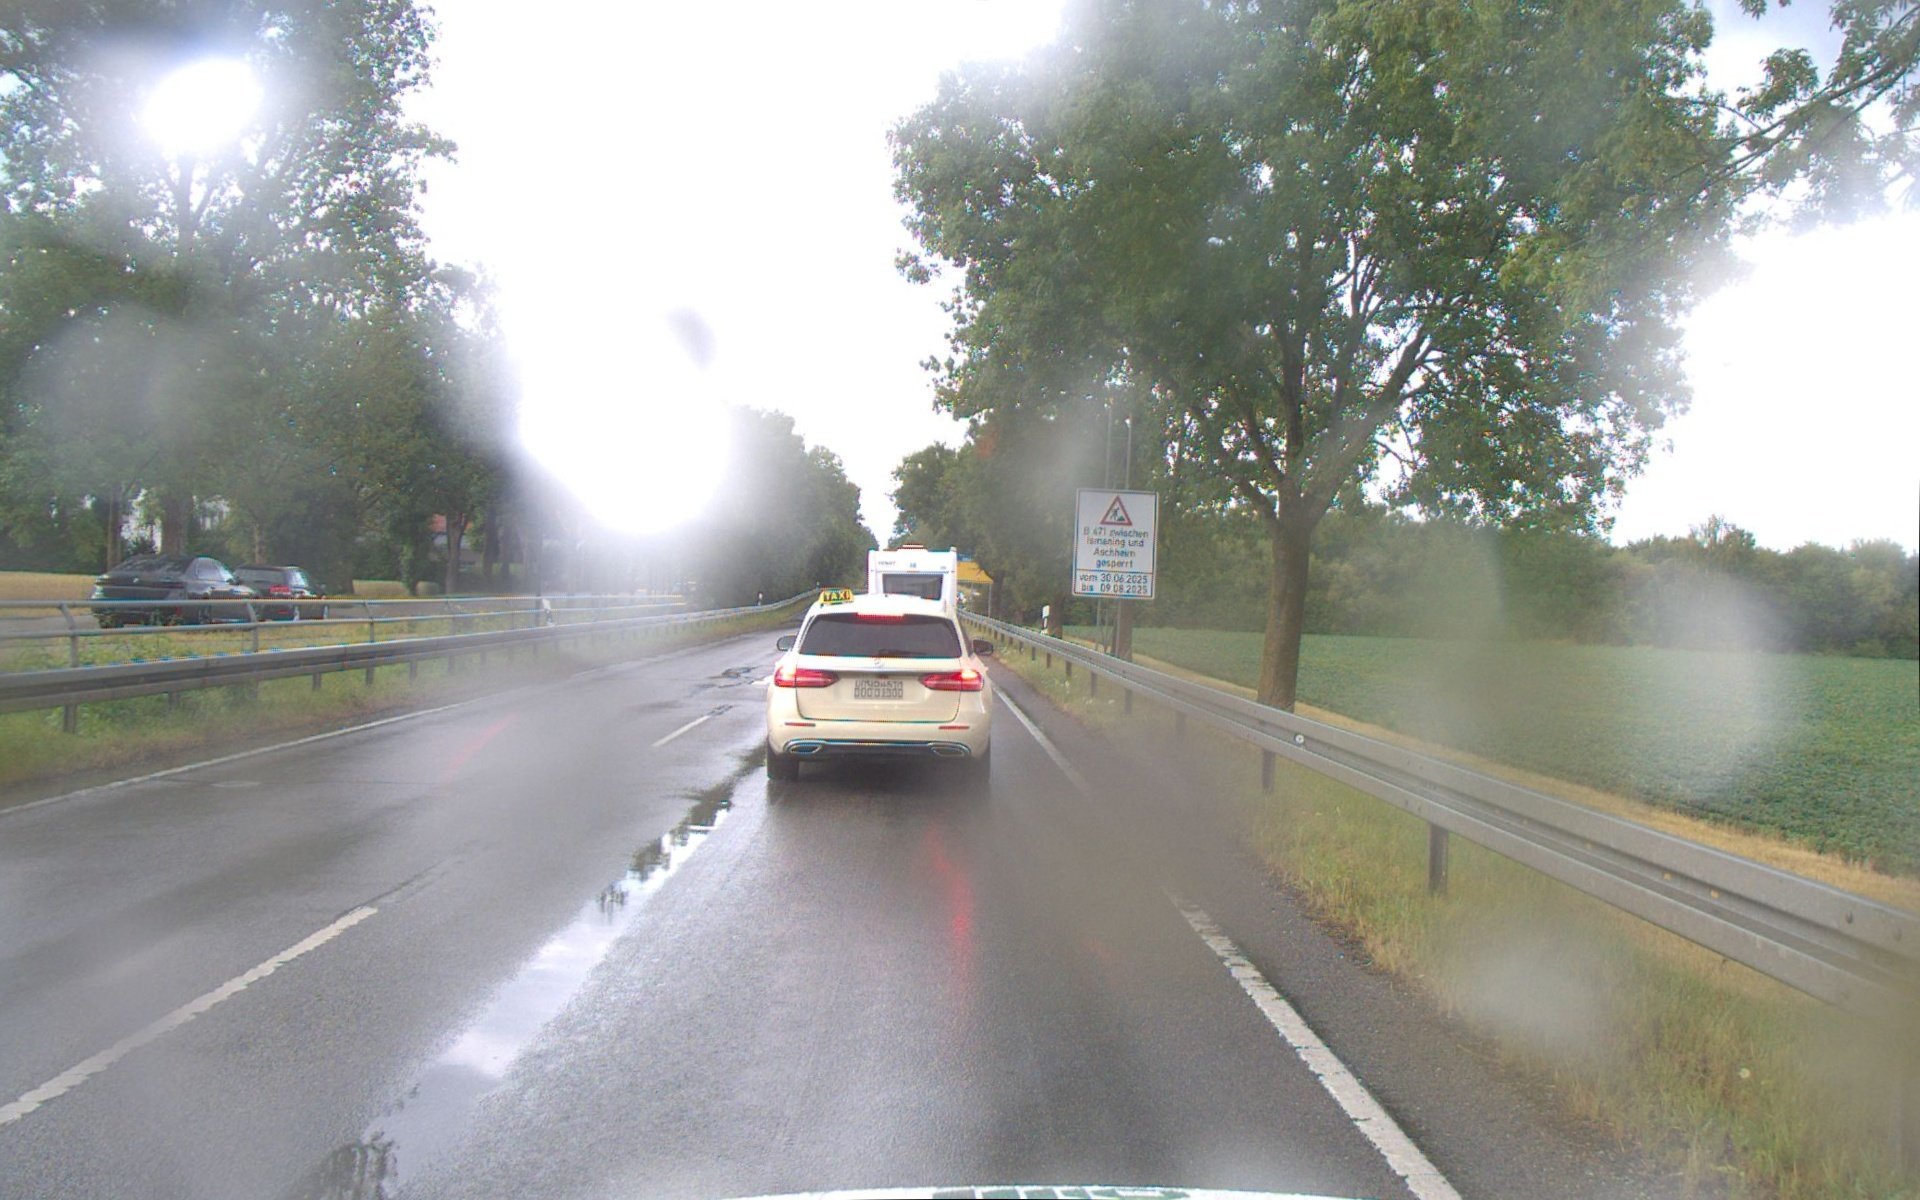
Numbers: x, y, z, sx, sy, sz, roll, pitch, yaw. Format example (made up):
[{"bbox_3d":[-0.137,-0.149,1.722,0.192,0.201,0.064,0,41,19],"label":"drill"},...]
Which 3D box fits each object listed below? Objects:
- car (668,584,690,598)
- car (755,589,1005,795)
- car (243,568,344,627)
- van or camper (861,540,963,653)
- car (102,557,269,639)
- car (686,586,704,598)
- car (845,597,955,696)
[{"bbox_3d":[-31.756,-1.029,186.932,1.749,1.440,3.999,2,0,-1],"label":"car"},{"bbox_3d":[-0.613,0.668,14.191,1.827,1.502,3.999,1,0,-1],"label":"car"},{"bbox_3d":[-16.446,-0.086,40.985,1.258,1.354,3.893,2,0,-6],"label":"car"},{"bbox_3d":[-1.219,-0.093,43.633,2.439,2.732,5.699,1,0,-1],"label":"van or camper"},{"bbox_3d":[-15.952,-0.059,34.356,1.486,1.517,5.115,2,0,-6],"label":"car"},{"bbox_3d":[-32.067,-0.994,200.363,1.750,1.440,3.997,2,0,-3],"label":"car"},{"bbox_3d":[-0.922,0.690,26.785,1.630,1.456,3.999,1,0,-1],"label":"car"}]
